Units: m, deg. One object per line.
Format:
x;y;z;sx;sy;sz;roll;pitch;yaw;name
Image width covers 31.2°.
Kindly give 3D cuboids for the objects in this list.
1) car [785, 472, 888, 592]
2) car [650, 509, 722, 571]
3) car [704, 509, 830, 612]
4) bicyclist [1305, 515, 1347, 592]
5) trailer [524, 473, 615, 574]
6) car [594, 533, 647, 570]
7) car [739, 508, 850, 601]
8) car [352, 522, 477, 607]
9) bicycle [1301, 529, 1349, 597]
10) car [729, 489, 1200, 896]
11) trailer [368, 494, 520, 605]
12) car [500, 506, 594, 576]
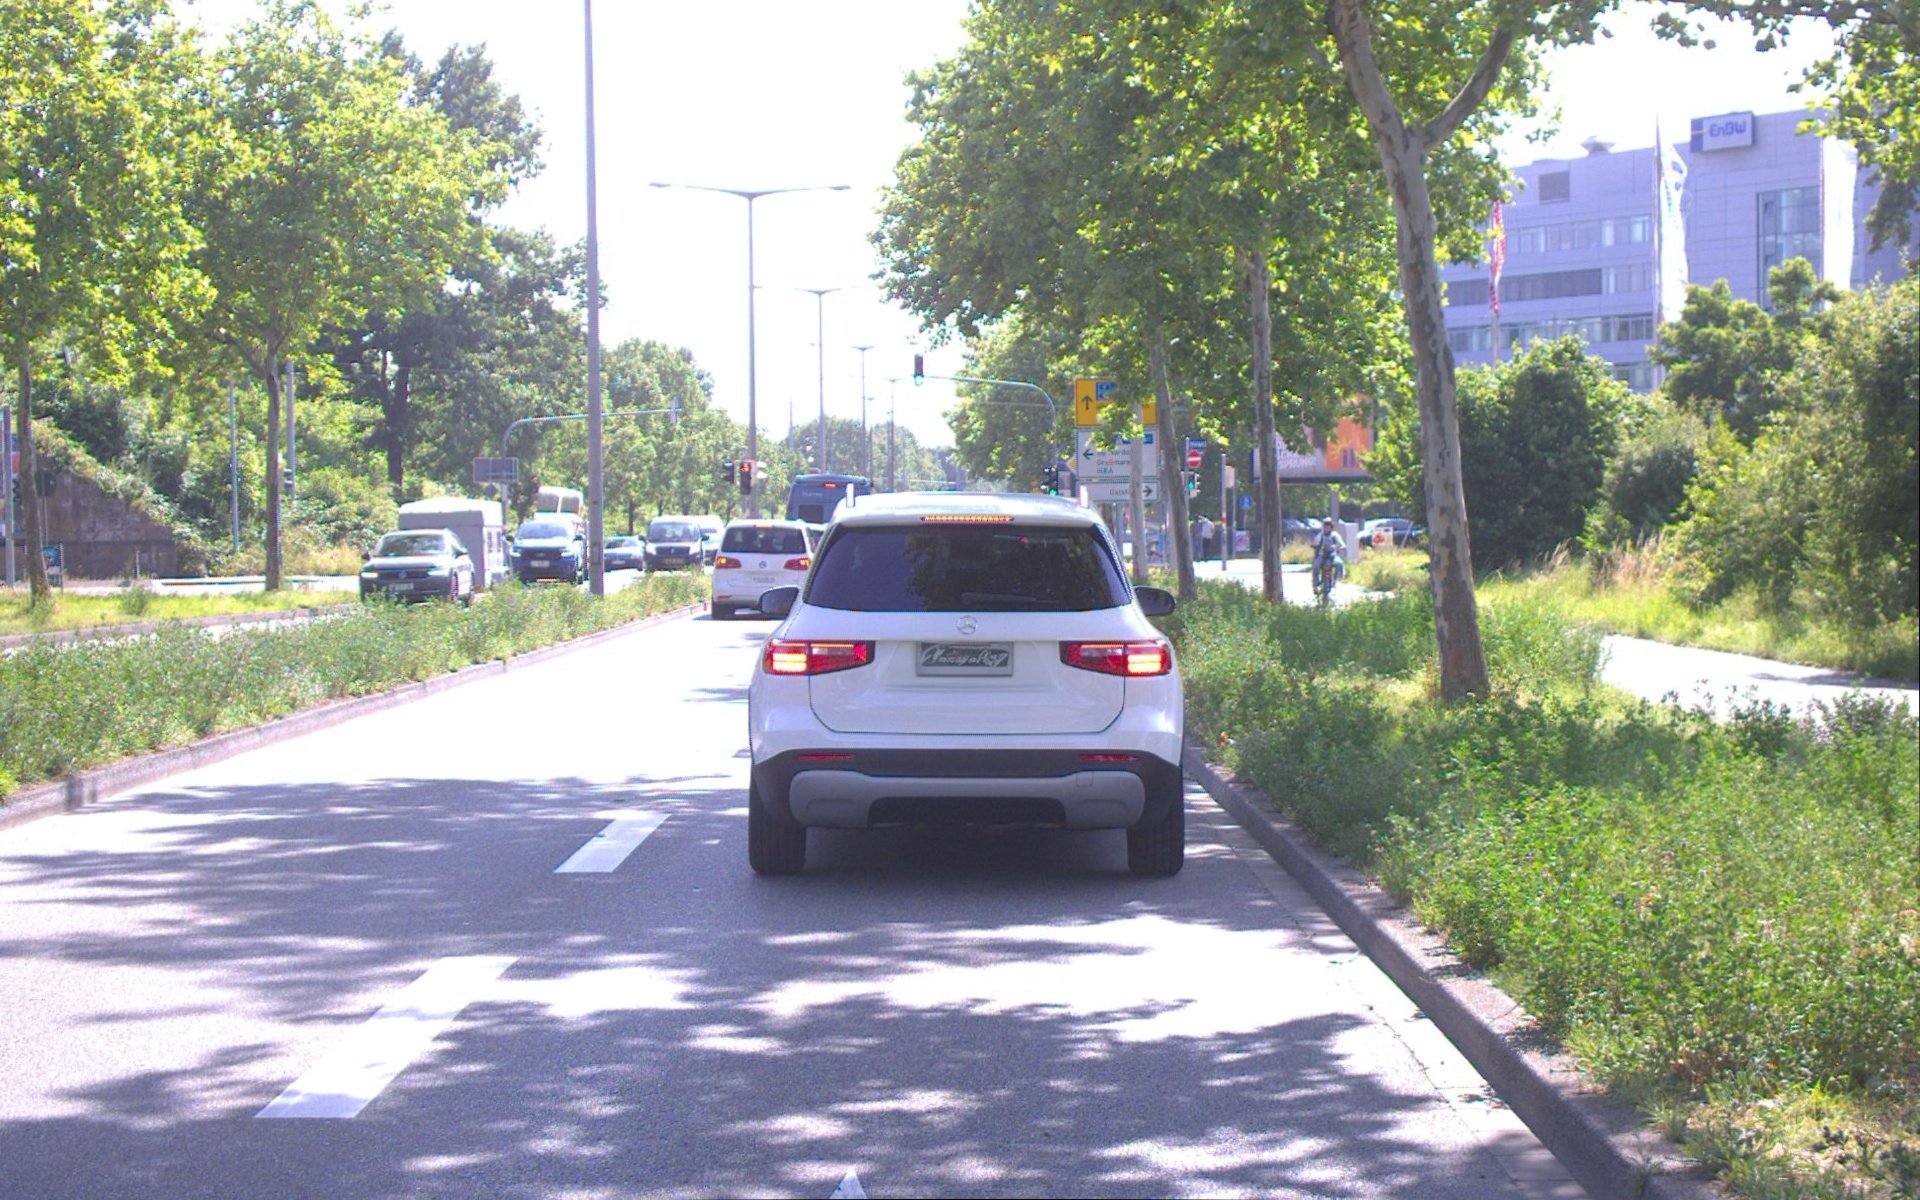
-2.832;-1.575;79.719;2.081;2.647;4.874;1;1;1;car
-8.236;-1.803;103.664;1.731;1.803;4.232;1;1;1;car
-3.197;-0.678;57.648;1.771;1.641;4.352;1;1;1;car
7.081;-0.900;66.562;0.704;1.472;1.010;1;1;1;bicyclist
-11.012;-2.154;97.242;1.880;2.734;4.829;1;1;1;trailer
-13.130;-1.889;133.191;1.701;1.360;3.646;1;1;0;car
-3.037;-0.853;63.653;1.771;1.641;4.084;1;1;1;car
-10.779;-0.721;68.154;1.715;1.616;4.361;0;1;1;car
7.061;-0.721;66.570;0.723;1.294;2.096;1;1;1;bicycle
-0.090;0.327;15.595;1.853;1.602;4.001;0;1;-3;car
-10.908;-1.086;73.123;2.309;2.257;5.538;0;1;1;trailer
-11.101;-1.599;92.765;1.764;1.783;5.376;1;1;1;car
